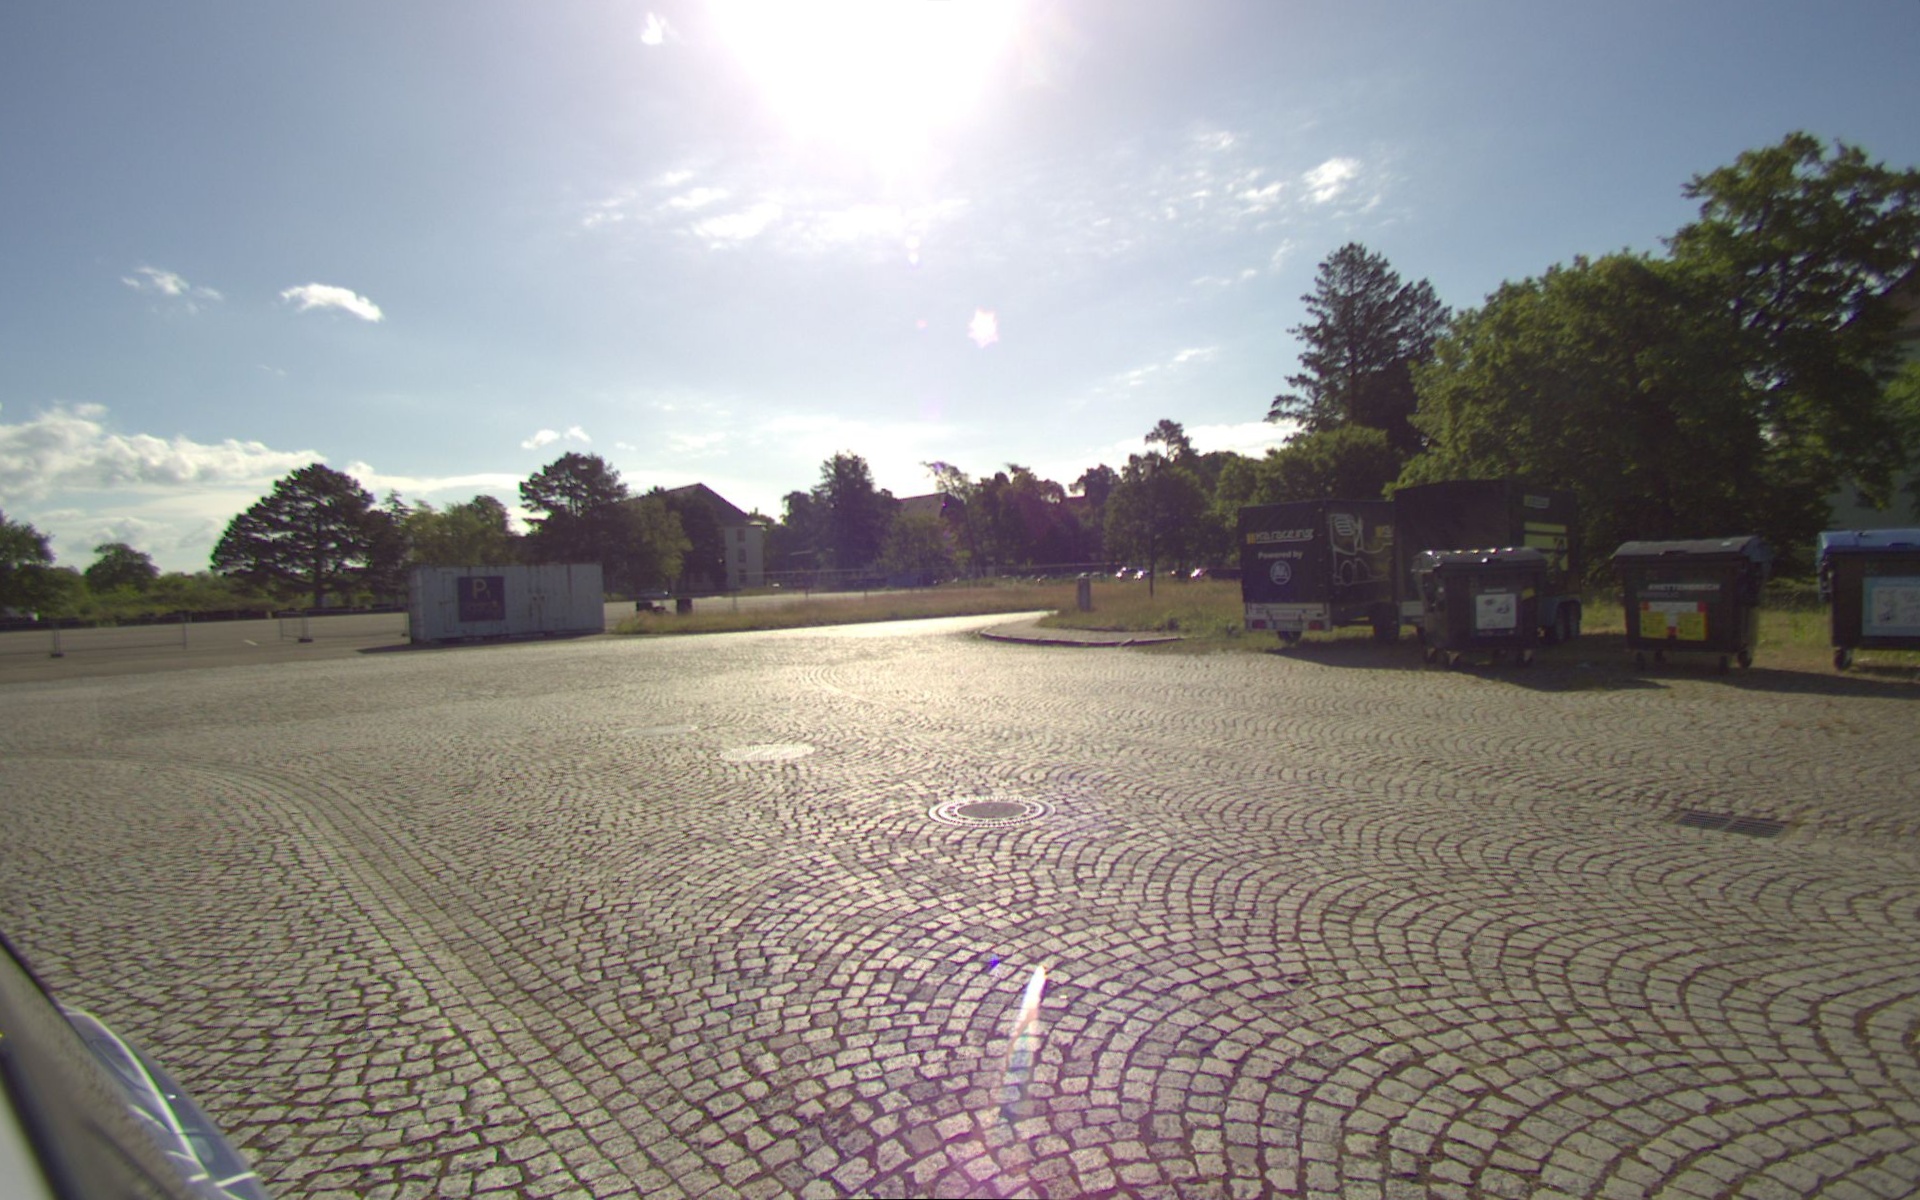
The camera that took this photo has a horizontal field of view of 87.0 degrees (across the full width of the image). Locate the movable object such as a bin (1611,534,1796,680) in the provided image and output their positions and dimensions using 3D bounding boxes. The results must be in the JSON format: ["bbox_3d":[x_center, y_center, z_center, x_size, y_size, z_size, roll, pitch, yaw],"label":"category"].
[{"bbox_3d":[8.188,0.051,11.173,1.005,1.468,1.443,-4,3,-40],"label":"movable object such as a bin"}]

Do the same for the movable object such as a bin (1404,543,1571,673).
[{"bbox_3d":[6.456,0.079,12.475,1.419,1.468,1.155,-2,2,3],"label":"movable object such as a bin"}]

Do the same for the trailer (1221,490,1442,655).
[{"bbox_3d":[6.317,-0.515,17.107,3.343,2.488,2.048,-4,3,-39],"label":"trailer"}]

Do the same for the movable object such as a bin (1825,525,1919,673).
[{"bbox_3d":[9.831,-0.030,10.365,1.439,1.468,0.873,-1,3,39],"label":"movable object such as a bin"}]

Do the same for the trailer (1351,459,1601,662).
[{"bbox_3d":[7.872,-0.630,15.208,4.583,2.587,1.953,-5,3,-44],"label":"trailer"}]
